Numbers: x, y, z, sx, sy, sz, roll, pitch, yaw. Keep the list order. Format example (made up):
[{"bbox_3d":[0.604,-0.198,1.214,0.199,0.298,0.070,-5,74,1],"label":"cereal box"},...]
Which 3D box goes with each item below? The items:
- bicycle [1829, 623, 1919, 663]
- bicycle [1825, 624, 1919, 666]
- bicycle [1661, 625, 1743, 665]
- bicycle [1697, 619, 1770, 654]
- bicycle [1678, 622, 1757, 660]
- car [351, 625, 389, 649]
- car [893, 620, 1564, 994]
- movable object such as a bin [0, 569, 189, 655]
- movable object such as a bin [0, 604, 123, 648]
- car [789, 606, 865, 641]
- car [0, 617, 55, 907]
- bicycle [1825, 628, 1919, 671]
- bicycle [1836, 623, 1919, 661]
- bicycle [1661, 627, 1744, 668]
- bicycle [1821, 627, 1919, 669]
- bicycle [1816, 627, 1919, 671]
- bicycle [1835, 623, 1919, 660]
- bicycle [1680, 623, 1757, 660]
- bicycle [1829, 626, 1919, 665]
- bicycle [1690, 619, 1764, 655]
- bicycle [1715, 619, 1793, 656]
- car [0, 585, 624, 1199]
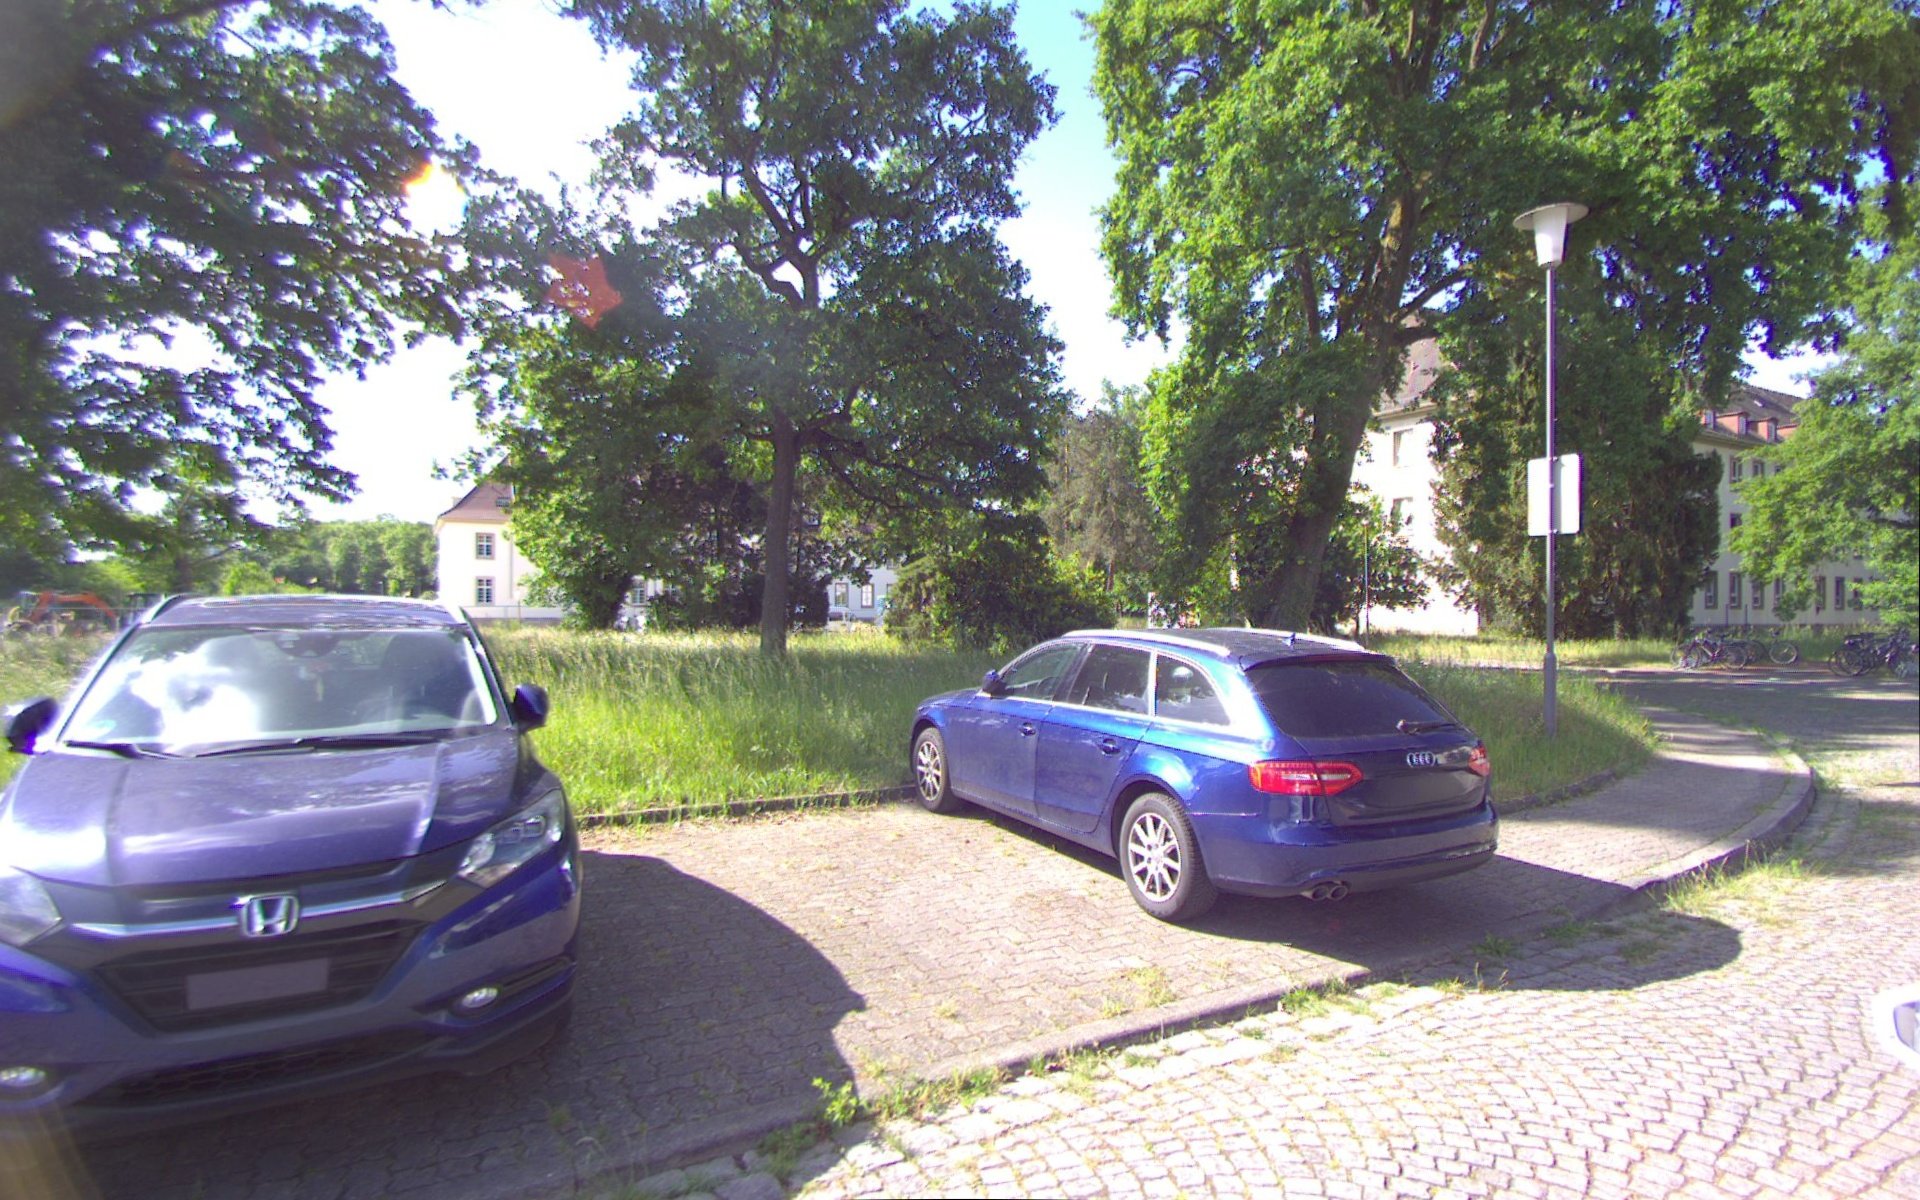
[{"bbox_3d":[25.111,1.188,27.524,1.890,1.072,0.474,-3,-2,39],"label":"bicycle"},{"bbox_3d":[24.523,1.213,26.973,1.890,1.072,0.474,-3,-2,39],"label":"bicycle"},{"bbox_3d":[21.665,1.314,29.350,1.889,1.117,0.568,-1,0,37],"label":"bicycle"},{"bbox_3d":[25.670,1.197,33.369,1.889,1.117,0.568,0,1,38],"label":"bicycle"},{"bbox_3d":[22.934,1.226,30.449,1.887,1.117,0.569,0,1,33],"label":"bicycle"},{"bbox_3d":[-47.705,2.924,81.178,1.980,1.879,4.088,1,-2,-41],"label":"car"},{"bbox_3d":[1.246,0.913,6.576,1.895,1.464,4.345,0,0,-26],"label":"car"},{"bbox_3d":[-41.522,0.608,47.882,3.868,3.780,6.766,-1,-1,37],"label":"movable object such as a bin"},{"bbox_3d":[-46.082,1.339,51.228,5.566,2.153,2.529,-1,-1,17],"label":"movable object such as a bin"},{"bbox_3d":[-9.675,1.708,73.241,5.212,2.469,1.976,1,-1,-29],"label":"car"},{"bbox_3d":[-5.134,0.828,3.632,1.819,1.452,3.908,0,0,-28],"label":"car"},{"bbox_3d":[23.453,1.278,25.725,1.886,1.072,0.475,-3,-2,32],"label":"bicycle"},{"bbox_3d":[26.967,1.246,29.444,1.891,1.072,0.473,-3,-2,41],"label":"bicycle"},{"bbox_3d":[21.344,1.360,28.918,1.889,1.117,0.568,-1,0,37],"label":"bicycle"},{"bbox_3d":[24.094,1.270,26.598,1.890,1.072,0.474,-3,-2,39],"label":"bicycle"},{"bbox_3d":[22.983,1.240,25.439,1.886,1.072,0.475,-3,-2,32],"label":"bicycle"},{"bbox_3d":[27.578,1.260,30.192,1.891,1.072,0.473,-3,-2,41],"label":"bicycle"},{"bbox_3d":[23.796,1.299,31.556,1.887,1.117,0.569,0,1,33],"label":"bicycle"},{"bbox_3d":[25.662,1.284,28.192,1.891,1.072,0.473,-3,-2,41],"label":"bicycle"},{"bbox_3d":[24.961,1.185,32.720,1.892,1.117,0.567,0,1,42],"label":"bicycle"},{"bbox_3d":[24.978,1.158,31.616,1.892,1.117,0.567,0,1,42],"label":"bicycle"},{"bbox_3d":[-2.788,0.766,4.312,1.861,1.600,4.117,0,0,-29],"label":"car"}]
